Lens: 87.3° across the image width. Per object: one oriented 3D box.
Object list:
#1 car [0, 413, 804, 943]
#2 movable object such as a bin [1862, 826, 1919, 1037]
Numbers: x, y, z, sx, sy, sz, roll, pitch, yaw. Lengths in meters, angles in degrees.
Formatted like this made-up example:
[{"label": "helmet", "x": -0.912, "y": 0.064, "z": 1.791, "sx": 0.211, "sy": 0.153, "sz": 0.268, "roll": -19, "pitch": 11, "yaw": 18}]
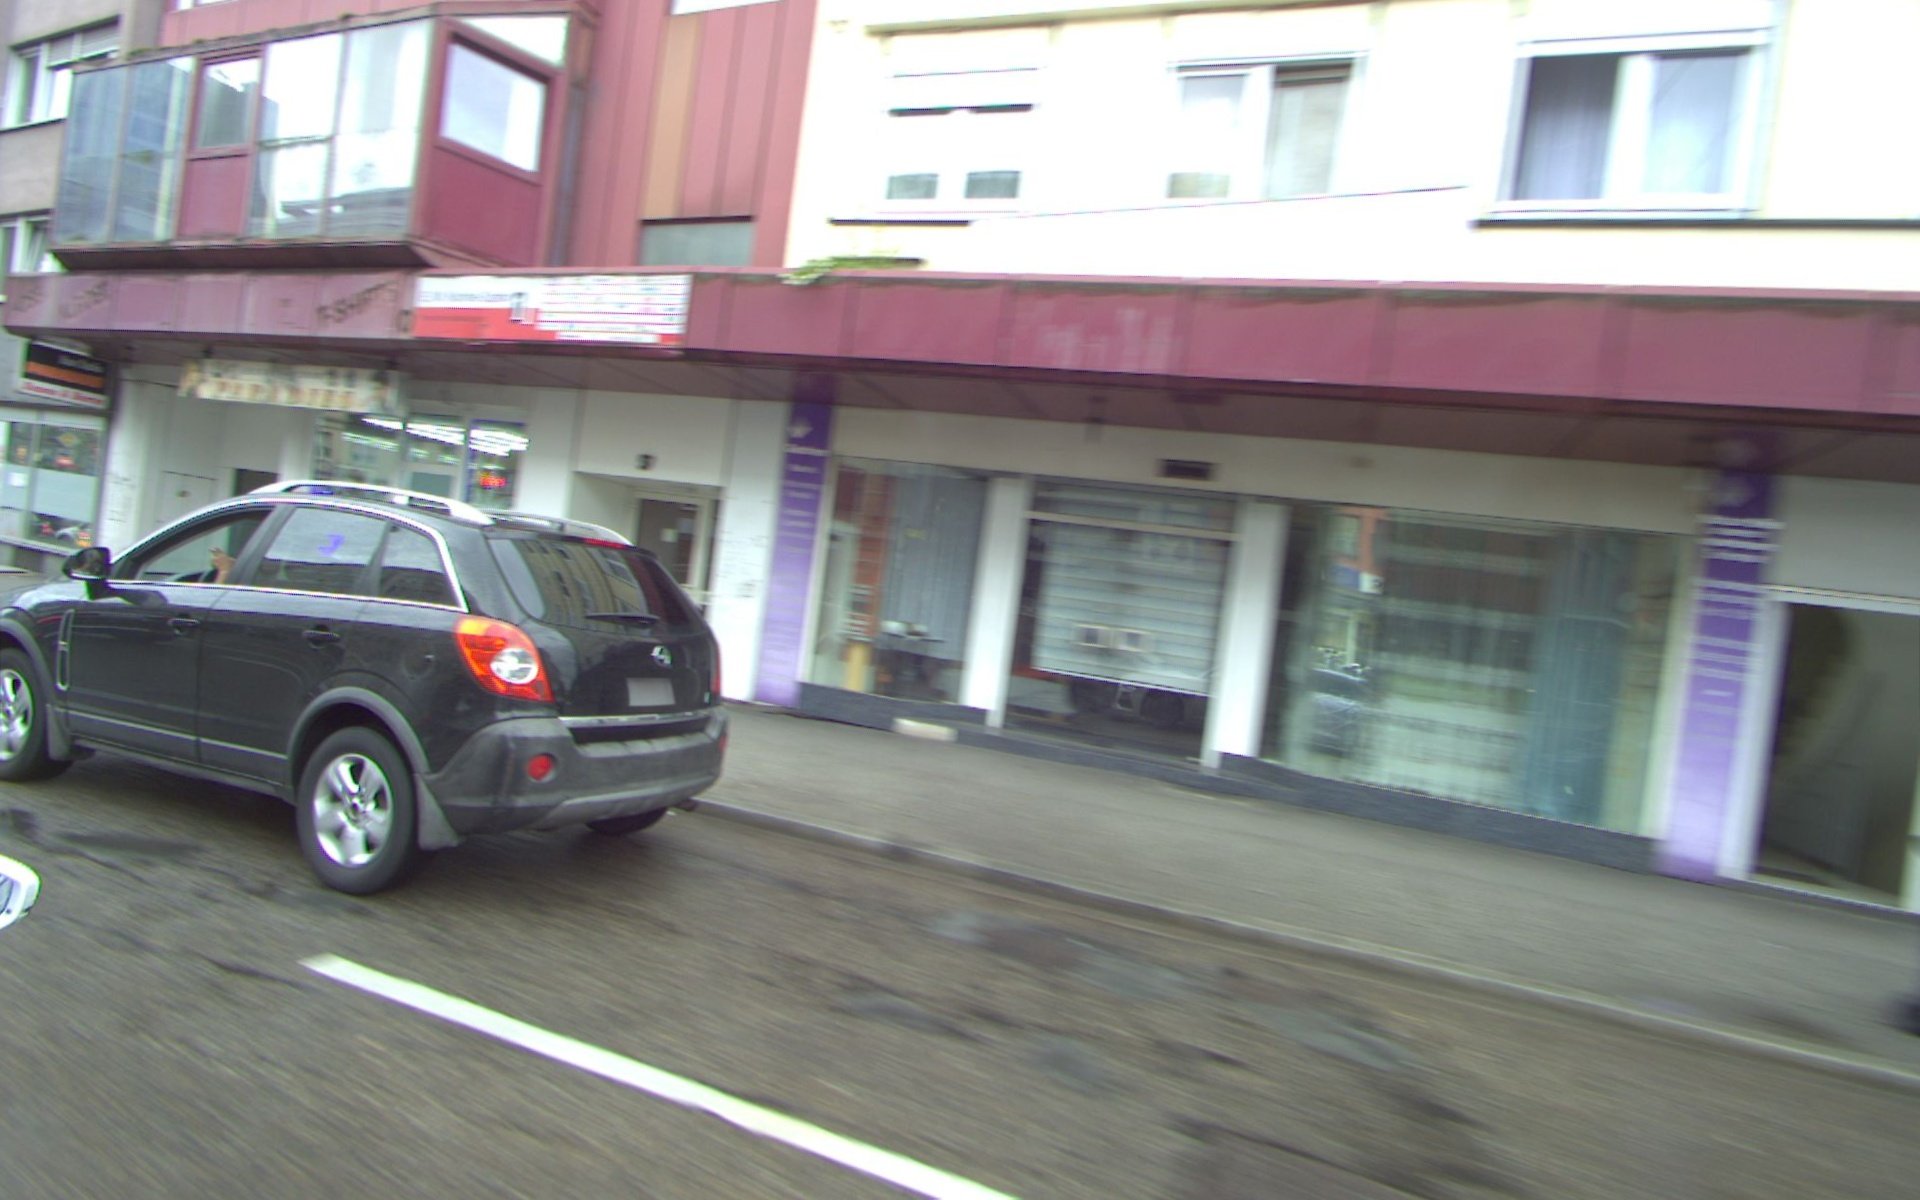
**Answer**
[{"label": "car", "x": -3.261, "y": 0.189, "z": 5.481, "sx": 4.223, "sy": 1.807, "sz": 1.913, "roll": 8, "pitch": 0, "yaw": 23}, {"label": "movable object such as a bin", "x": 4.911, "y": 1.646, "z": 4.804, "sx": 0.526, "sy": 0.947, "sz": 0.666, "roll": 4, "pitch": 4, "yaw": -31}]
